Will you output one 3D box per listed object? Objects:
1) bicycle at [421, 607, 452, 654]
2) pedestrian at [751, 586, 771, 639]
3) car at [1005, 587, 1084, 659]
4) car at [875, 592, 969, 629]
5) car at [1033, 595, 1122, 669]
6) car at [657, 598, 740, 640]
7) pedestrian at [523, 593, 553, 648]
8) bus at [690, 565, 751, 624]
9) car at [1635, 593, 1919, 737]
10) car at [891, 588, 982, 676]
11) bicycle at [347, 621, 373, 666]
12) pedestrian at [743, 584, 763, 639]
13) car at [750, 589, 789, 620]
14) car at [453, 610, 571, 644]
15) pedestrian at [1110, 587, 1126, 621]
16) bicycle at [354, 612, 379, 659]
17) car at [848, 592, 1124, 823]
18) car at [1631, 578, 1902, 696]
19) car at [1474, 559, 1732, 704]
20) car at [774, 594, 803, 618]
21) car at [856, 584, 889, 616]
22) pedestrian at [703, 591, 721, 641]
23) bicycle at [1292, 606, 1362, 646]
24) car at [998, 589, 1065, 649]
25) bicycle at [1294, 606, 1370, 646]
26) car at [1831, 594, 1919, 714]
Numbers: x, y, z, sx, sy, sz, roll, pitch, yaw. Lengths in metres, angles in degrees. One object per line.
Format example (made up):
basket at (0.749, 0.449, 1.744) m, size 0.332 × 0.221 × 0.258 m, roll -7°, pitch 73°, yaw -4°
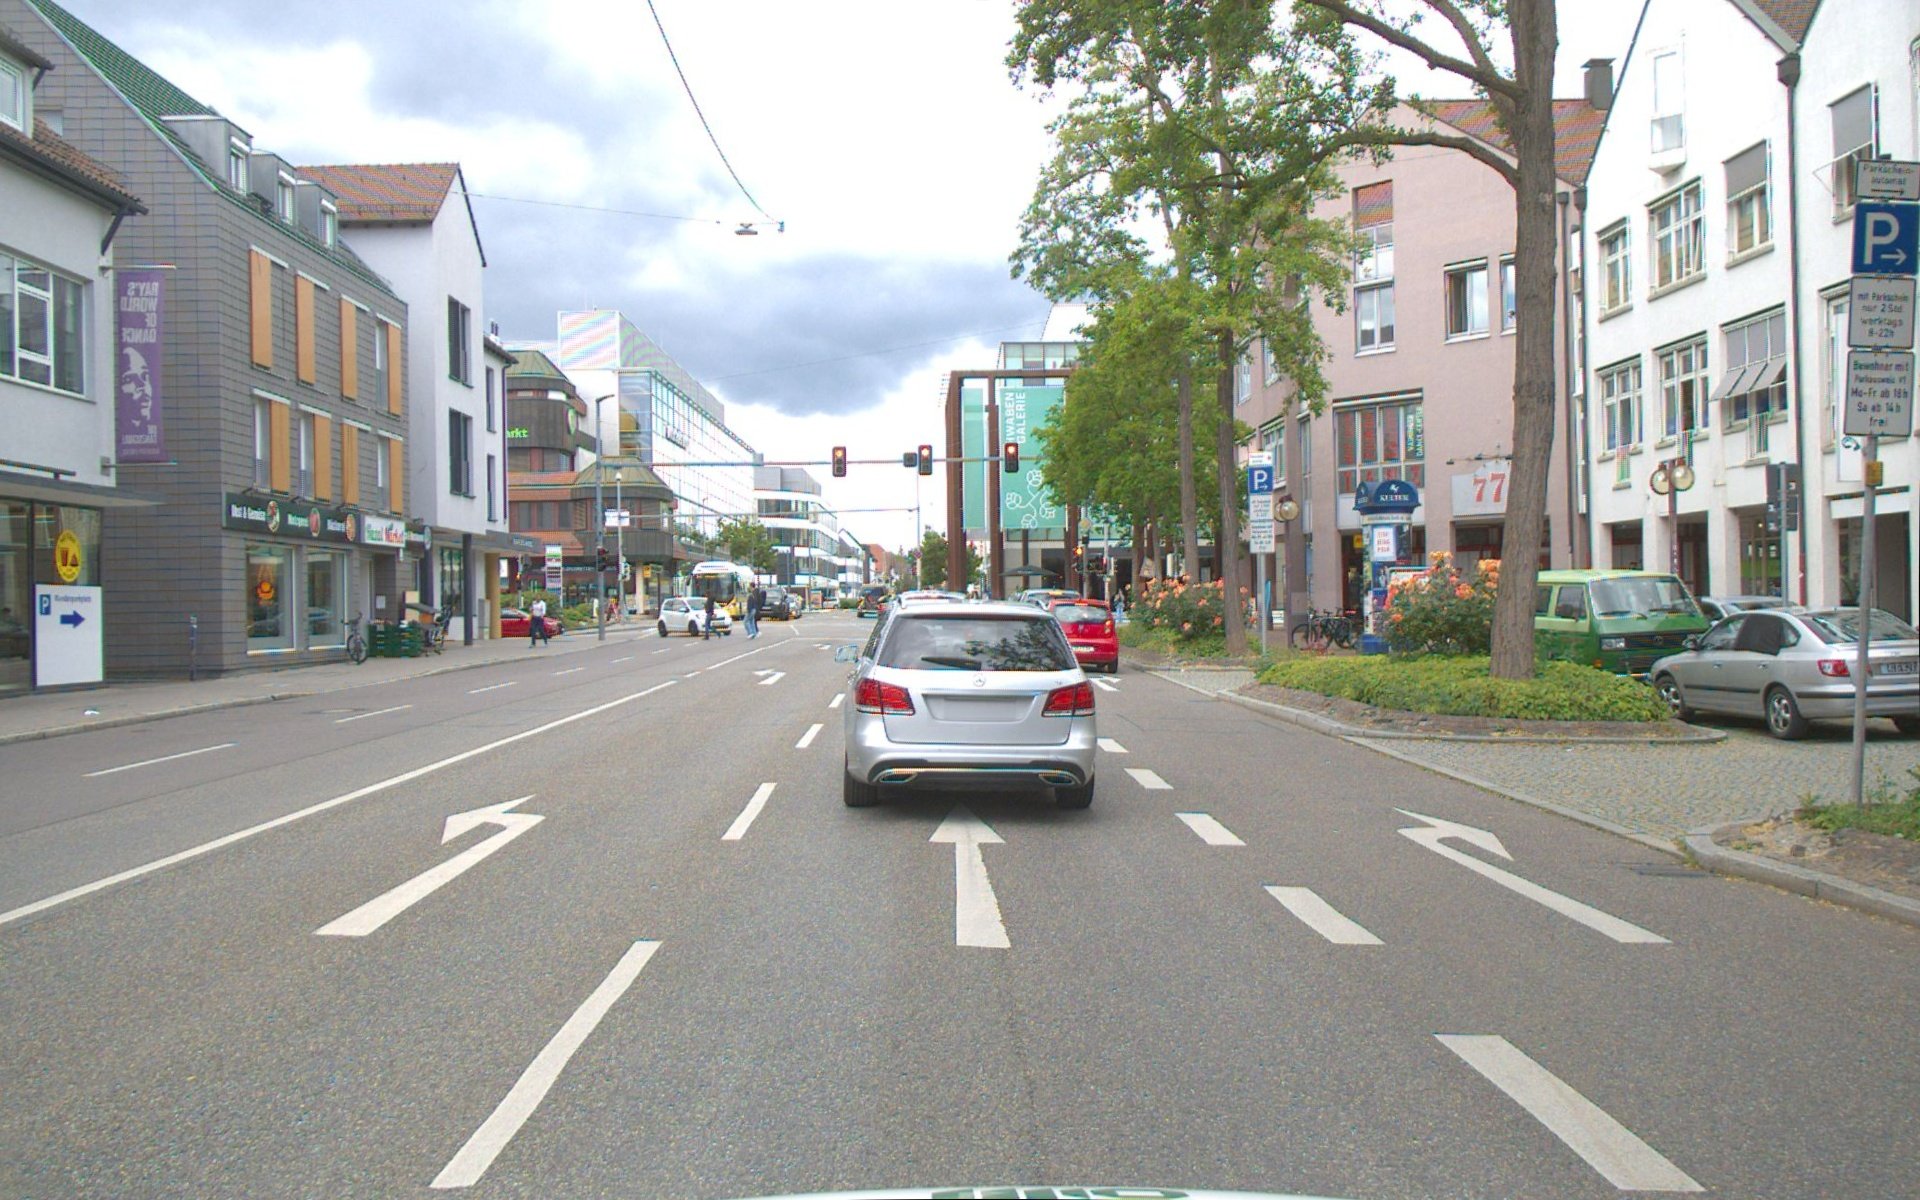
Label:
bicycle at (-14.018, 0.810, 44.312) m, size 0.379 × 1.207 × 1.824 m, roll -1°, pitch 0°, yaw -4°
pedestrian at (-6.798, 0.422, 56.529) m, size 0.633 × 1.806 × 0.569 m, roll -1°, pitch 0°, yaw -12°
car at (2.052, 0.528, 40.965) m, size 1.555 × 1.662 × 3.914 m, roll 1°, pitch 0°, yaw -3°
car at (-1.690, 0.456, 73.415) m, size 4.102 × 1.557 × 1.790 m, roll 0°, pitch 0°, yaw -1°
car at (2.426, 0.636, 34.839) m, size 1.554 × 1.468 × 3.347 m, roll 1°, pitch 0°, yaw -1°
car at (-9.976, 0.711, 62.932) m, size 1.564 × 1.514 × 3.414 m, roll -2°, pitch 0°, yaw -40°
pedestrian at (-12.784, 0.627, 50.119) m, size 0.713 × 1.638 × 0.753 m, roll -1°, pitch 0°, yaw -1°
bus at (-14.084, -0.360, 97.812) m, size 2.633 × 3.318 × 8.649 m, roll 0°, pitch 0°, yaw -2°
car at (9.867, 0.672, 19.600) m, size 1.727 × 1.476 × 4.416 m, roll -1°, pitch 0°, yaw -3°
car at (-0.461, 0.565, 31.116) m, size 1.606 × 1.554 × 3.393 m, roll 0°, pitch 0°, yaw -1°
bicycle at (-13.546, 0.969, 37.364) m, size 0.320 × 0.970 × 1.479 m, roll -1°, pitch 0°, yaw -12°
pedestrian at (-6.985, 0.394, 55.793) m, size 0.634 × 1.821 × 0.683 m, roll -1°, pitch 0°, yaw -8°
car at (-10.923, 0.237, 95.030) m, size 1.953 × 1.735 × 4.063 m, roll 0°, pitch 0°, yaw -2°
car at (-19.744, 1.186, 73.039) m, size 4.618 × 1.393 × 1.964 m, roll -1°, pitch 0°, yaw 0°
pedestrian at (7.991, 0.194, 83.630) m, size 0.641 × 1.679 × 0.557 m, roll -1°, pitch 0°, yaw -16°
bicycle at (-14.909, 0.875, 41.546) m, size 0.379 × 1.147 × 1.286 m, roll -1°, pitch 0°, yaw -11°
car at (0.065, 0.706, 12.968) m, size 1.779 × 1.474 × 4.367 m, roll 1°, pitch 0°, yaw -3°
car at (12.087, 0.500, 25.157) m, size 1.760 × 1.569 × 4.392 m, roll -2°, pitch 0°, yaw -3°
car at (9.488, 0.422, 24.859) m, size 1.843 × 1.909 × 4.603 m, roll -2°, pitch 0°, yaw -3°
car at (-10.626, 0.361, 102.662) m, size 1.524 × 1.417 × 3.286 m, roll 0°, pitch 0°, yaw -2°
car at (-5.502, -0.002, 104.571) m, size 1.953 × 1.983 × 4.949 m, roll 0°, pitch 0°, yaw -1°
pedestrian at (-8.437, 0.527, 56.275) m, size 0.548 × 1.679 × 0.651 m, roll -1°, pitch 0°, yaw -13°
bicycle at (9.650, 0.688, 43.483) m, size 1.731 × 1.014 × 0.447 m, roll -1°, pitch 0°, yaw 3°
car at (1.995, 0.505, 47.131) m, size 1.555 × 1.623 × 3.866 m, roll 1°, pitch 0°, yaw -3°
bicycle at (9.650, 0.669, 42.936) m, size 1.861 × 1.014 × 0.468 m, roll -1°, pitch 0°, yaw 3°
car at (12.575, 0.641, 19.616) m, size 1.957 × 1.400 × 4.416 m, roll -2°, pitch 0°, yaw -3°
